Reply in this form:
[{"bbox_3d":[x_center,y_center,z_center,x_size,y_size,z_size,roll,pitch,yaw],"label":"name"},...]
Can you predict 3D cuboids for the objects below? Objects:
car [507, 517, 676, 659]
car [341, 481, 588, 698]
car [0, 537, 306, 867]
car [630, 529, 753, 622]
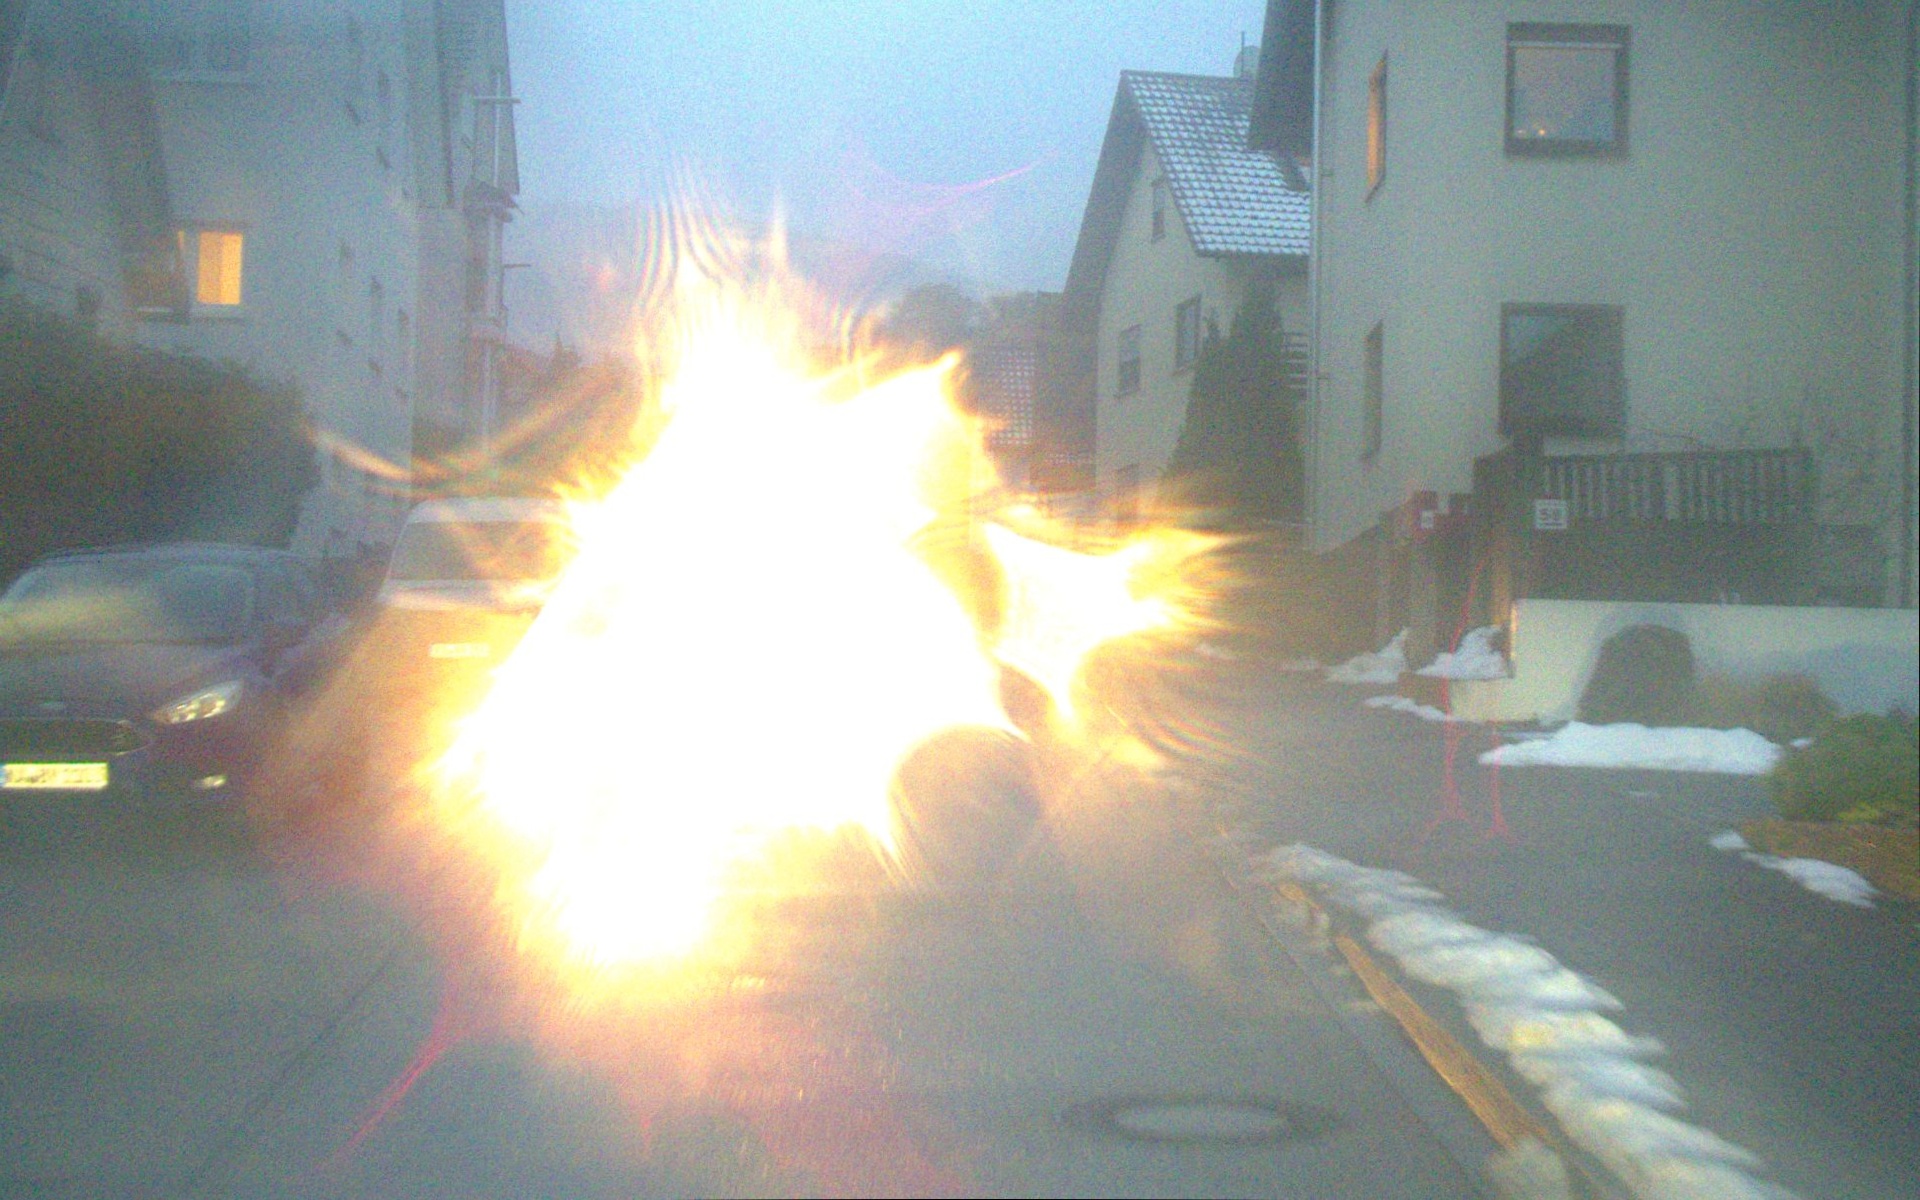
[{"bbox_3d":[-4.845,-0.182,45.704,1.993,1.794,4.001,0,1,-3],"label":"car"},{"bbox_3d":[-4.430,-0.127,31.261,1.825,1.829,4.345,0,1,-3],"label":"car"},{"bbox_3d":[-4.346,0.429,17.793,1.794,1.498,4.311,0,1,-10],"label":"car"},{"bbox_3d":[-4.963,-0.434,64.015,1.993,1.644,4.000,0,-1,0],"label":"car"}]
